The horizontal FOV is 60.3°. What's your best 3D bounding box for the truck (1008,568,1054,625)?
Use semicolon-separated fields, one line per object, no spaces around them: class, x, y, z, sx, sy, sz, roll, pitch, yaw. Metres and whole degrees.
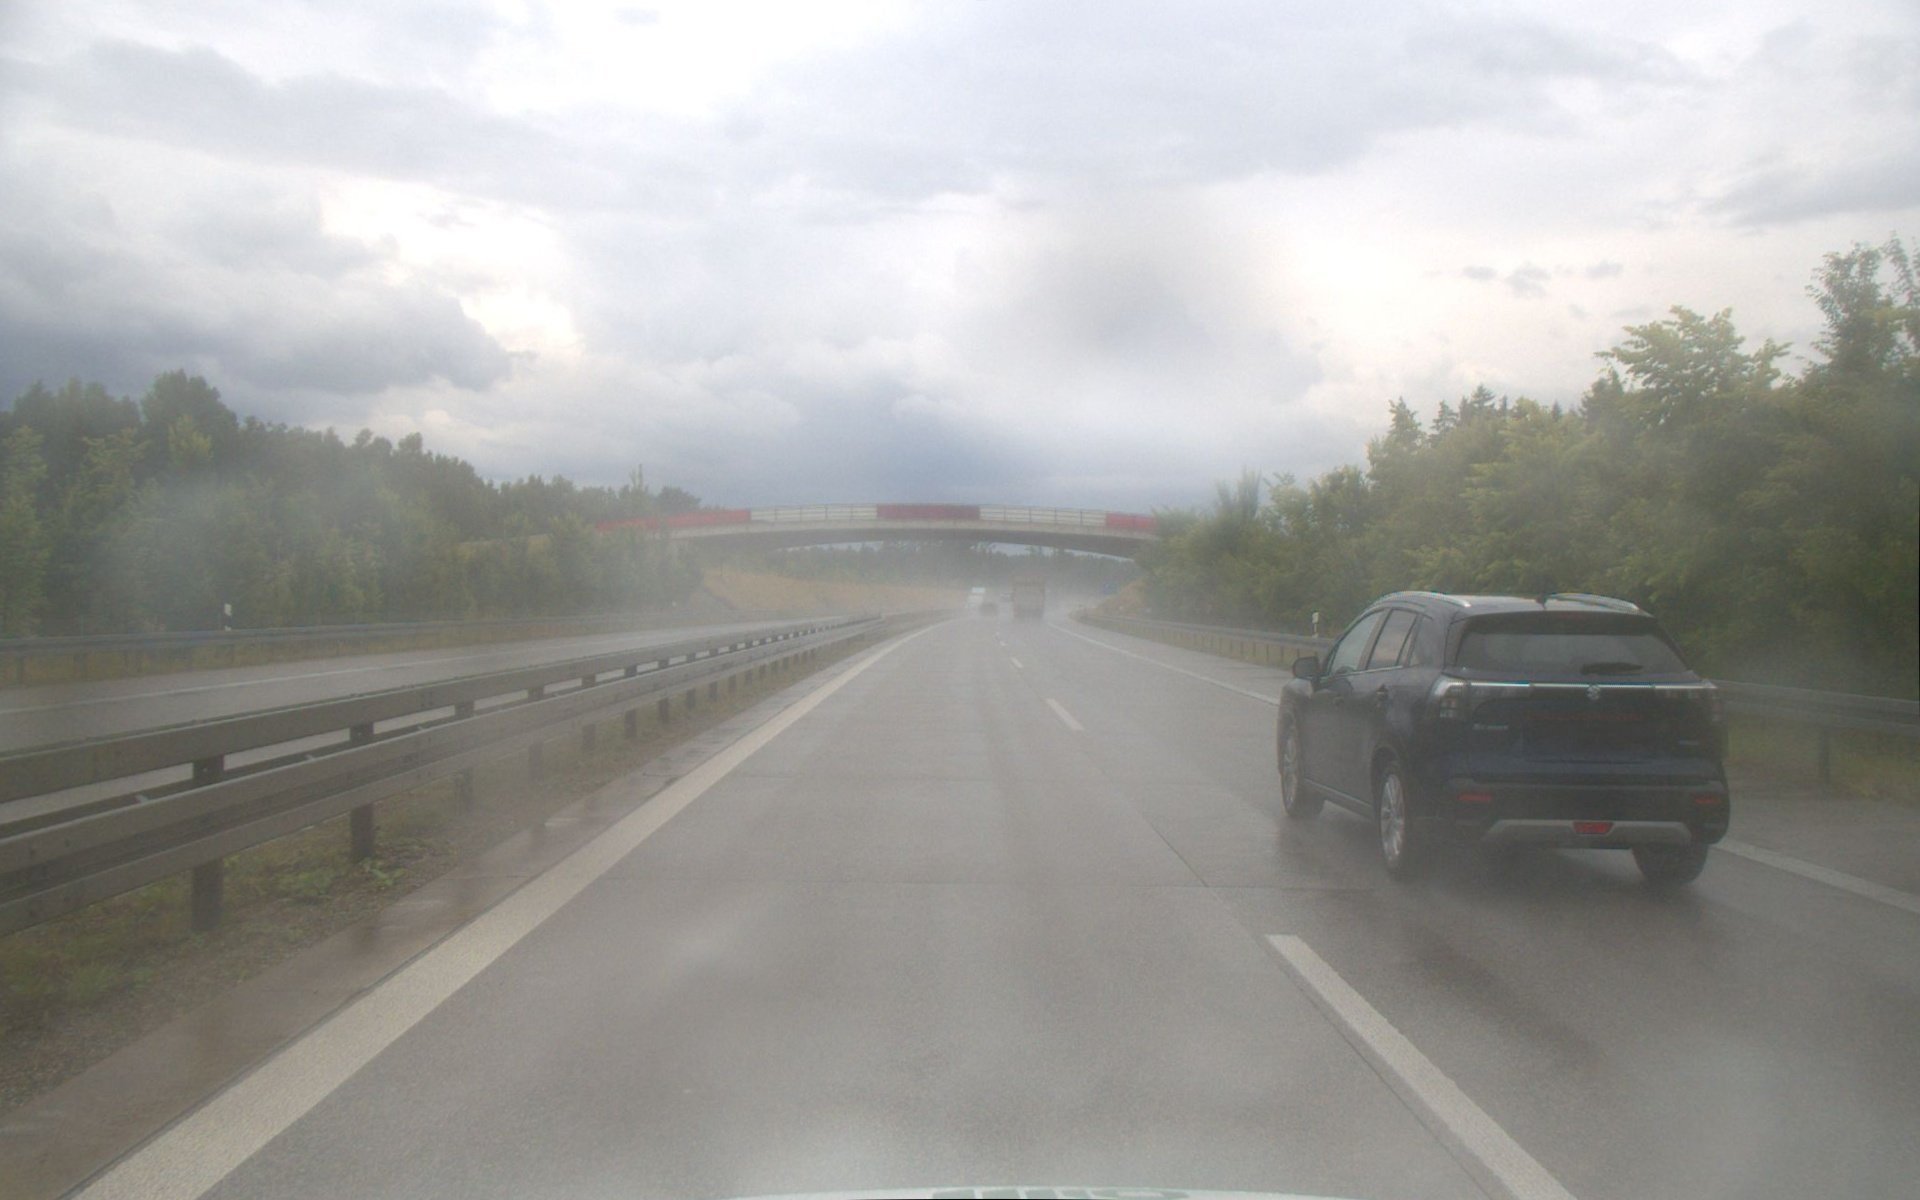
truck;5.838;-0.336;134.751;3.175;4.514;8.252;0;0;6

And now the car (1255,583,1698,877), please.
car;3.202;0.721;11.034;1.855;1.603;3.632;1;0;1
